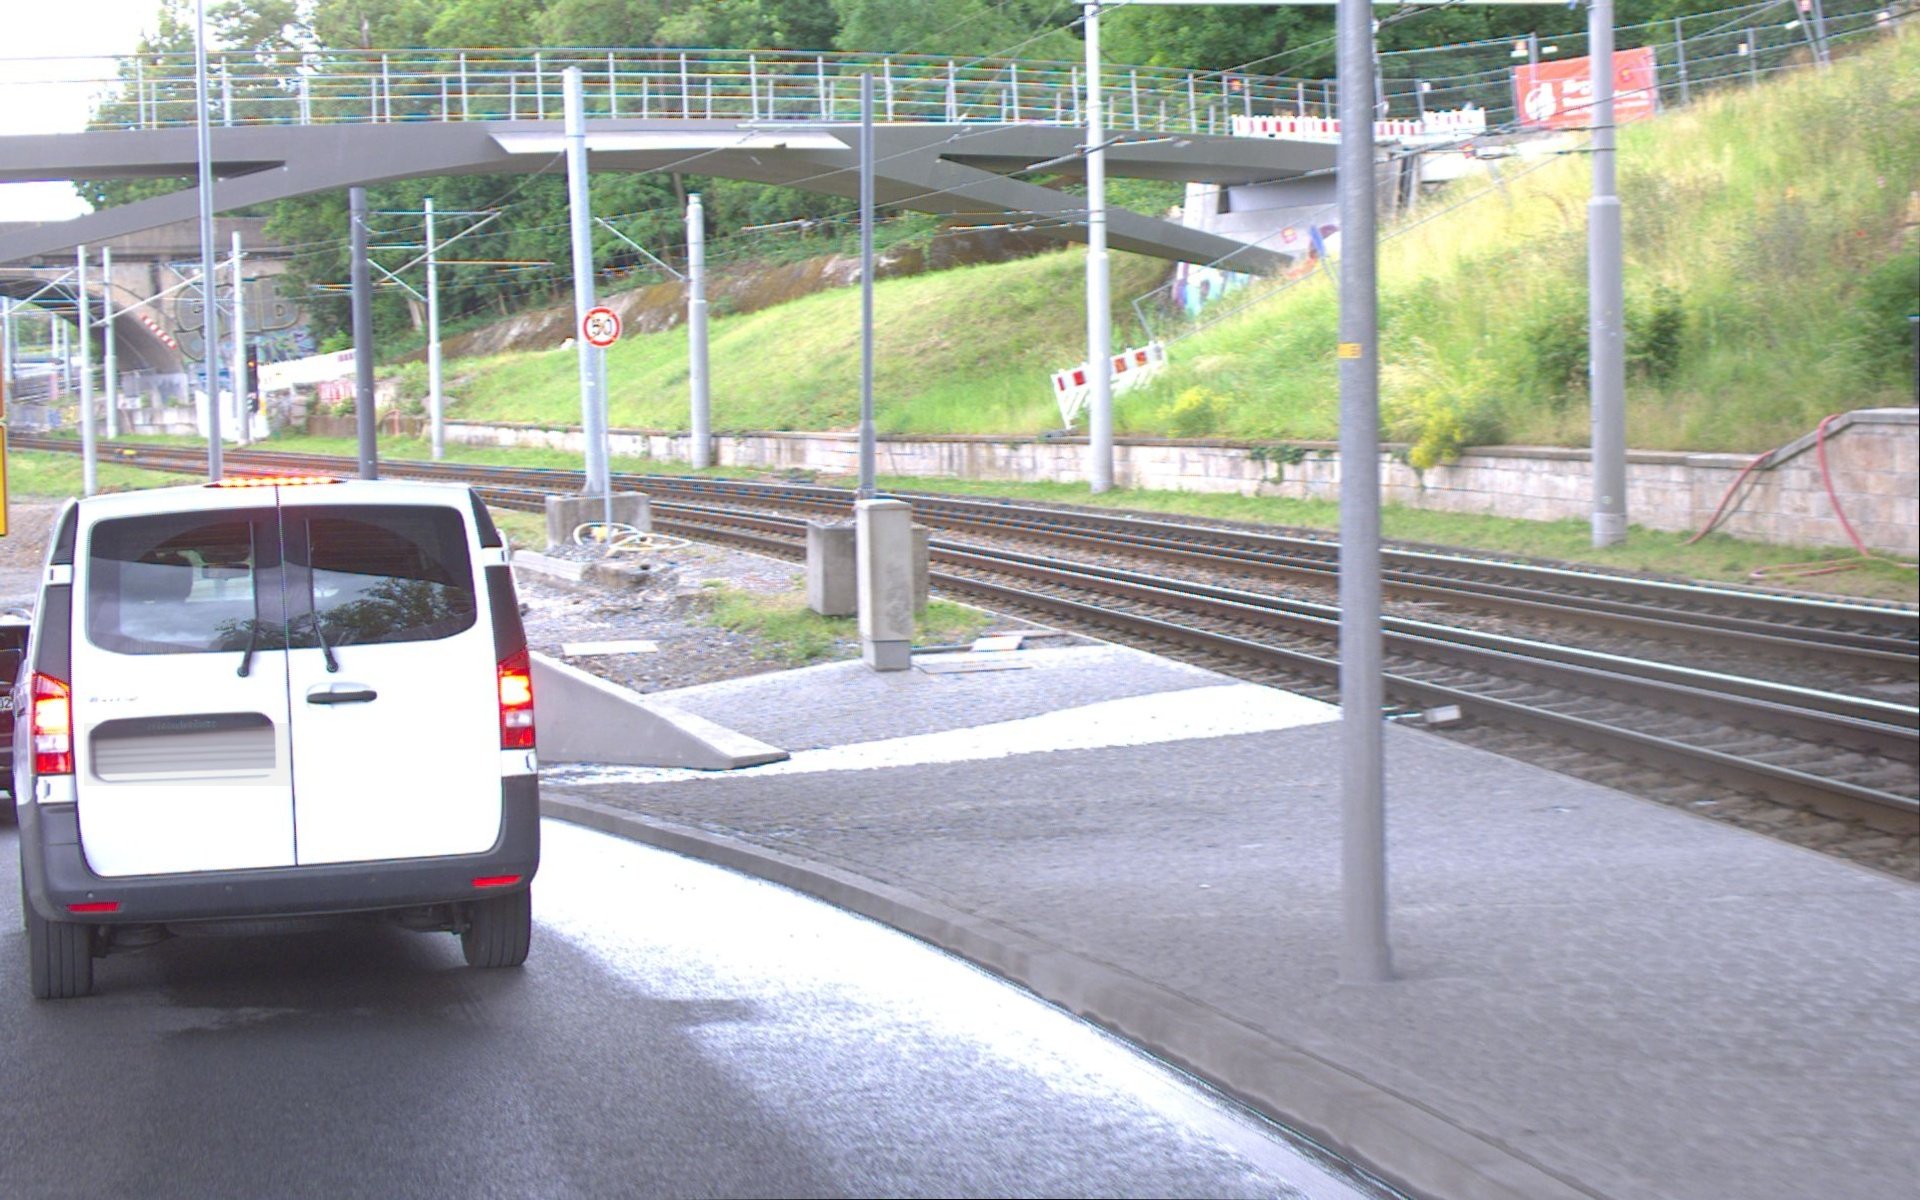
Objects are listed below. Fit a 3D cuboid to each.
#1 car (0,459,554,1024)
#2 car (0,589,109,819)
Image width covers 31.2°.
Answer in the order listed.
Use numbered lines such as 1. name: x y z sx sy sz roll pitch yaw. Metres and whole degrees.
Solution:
1. car: -3.033 0.488 14.305 1.876 1.884 4.754 -2 0 -16
2. car: -8.014 0.780 27.178 1.749 1.619 3.845 -2 2 -25
